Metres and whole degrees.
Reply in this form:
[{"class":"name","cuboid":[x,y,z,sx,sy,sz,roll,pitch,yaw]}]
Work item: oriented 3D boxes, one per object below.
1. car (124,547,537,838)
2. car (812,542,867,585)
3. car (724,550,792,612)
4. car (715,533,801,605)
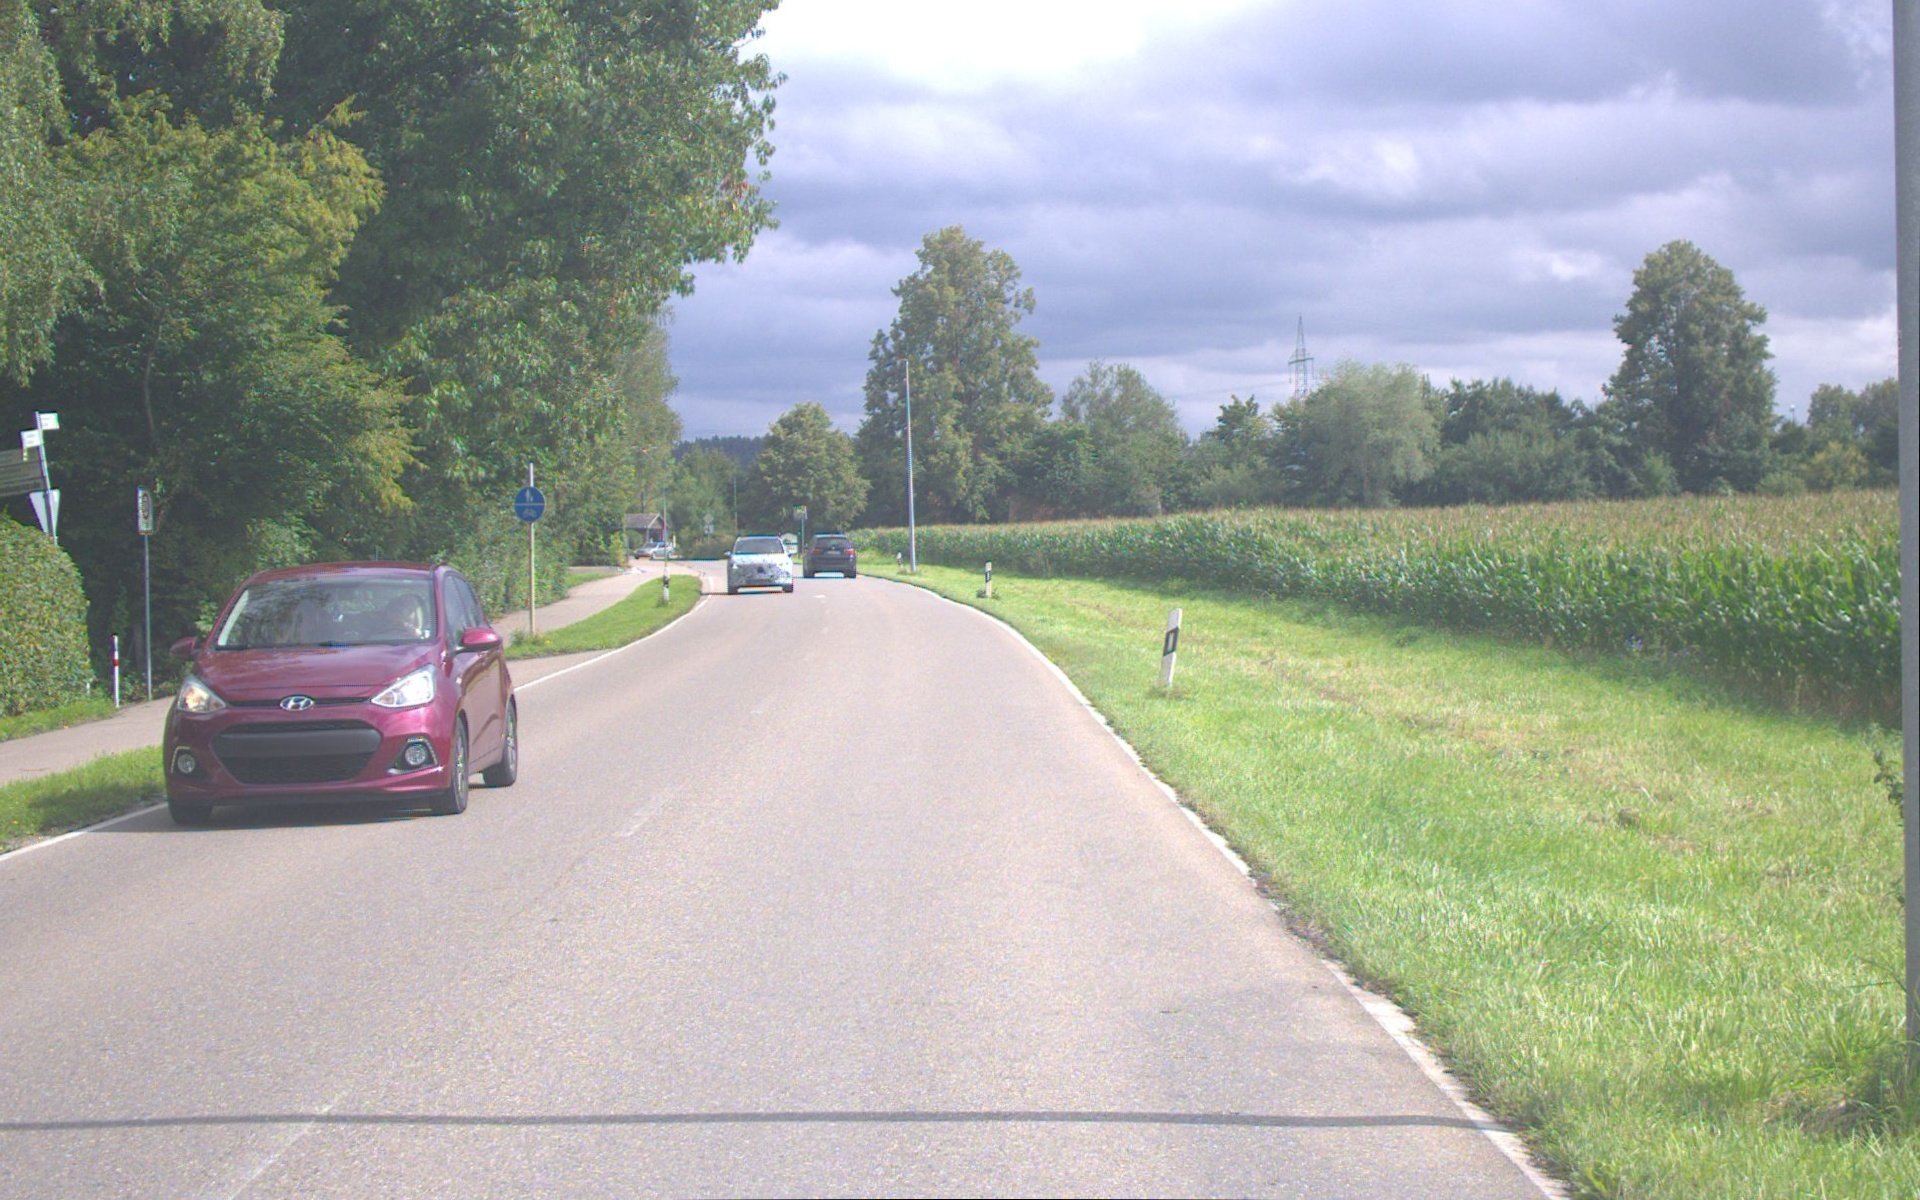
[{"class":"car","cuboid":[-3.658,0.470,20.637,1.740,1.466,4.000,-2,1,-1]},{"class":"car","cuboid":[-4.631,-1.409,132.173,1.993,1.579,4.000,1,1,0]},{"class":"car","cuboid":[-5.825,-0.565,99.635,1.811,1.645,4.293,-3,1,-2]},{"class":"car","cuboid":[-5.822,-0.900,99.276,1.994,2.007,4.000,1,1,3]}]
